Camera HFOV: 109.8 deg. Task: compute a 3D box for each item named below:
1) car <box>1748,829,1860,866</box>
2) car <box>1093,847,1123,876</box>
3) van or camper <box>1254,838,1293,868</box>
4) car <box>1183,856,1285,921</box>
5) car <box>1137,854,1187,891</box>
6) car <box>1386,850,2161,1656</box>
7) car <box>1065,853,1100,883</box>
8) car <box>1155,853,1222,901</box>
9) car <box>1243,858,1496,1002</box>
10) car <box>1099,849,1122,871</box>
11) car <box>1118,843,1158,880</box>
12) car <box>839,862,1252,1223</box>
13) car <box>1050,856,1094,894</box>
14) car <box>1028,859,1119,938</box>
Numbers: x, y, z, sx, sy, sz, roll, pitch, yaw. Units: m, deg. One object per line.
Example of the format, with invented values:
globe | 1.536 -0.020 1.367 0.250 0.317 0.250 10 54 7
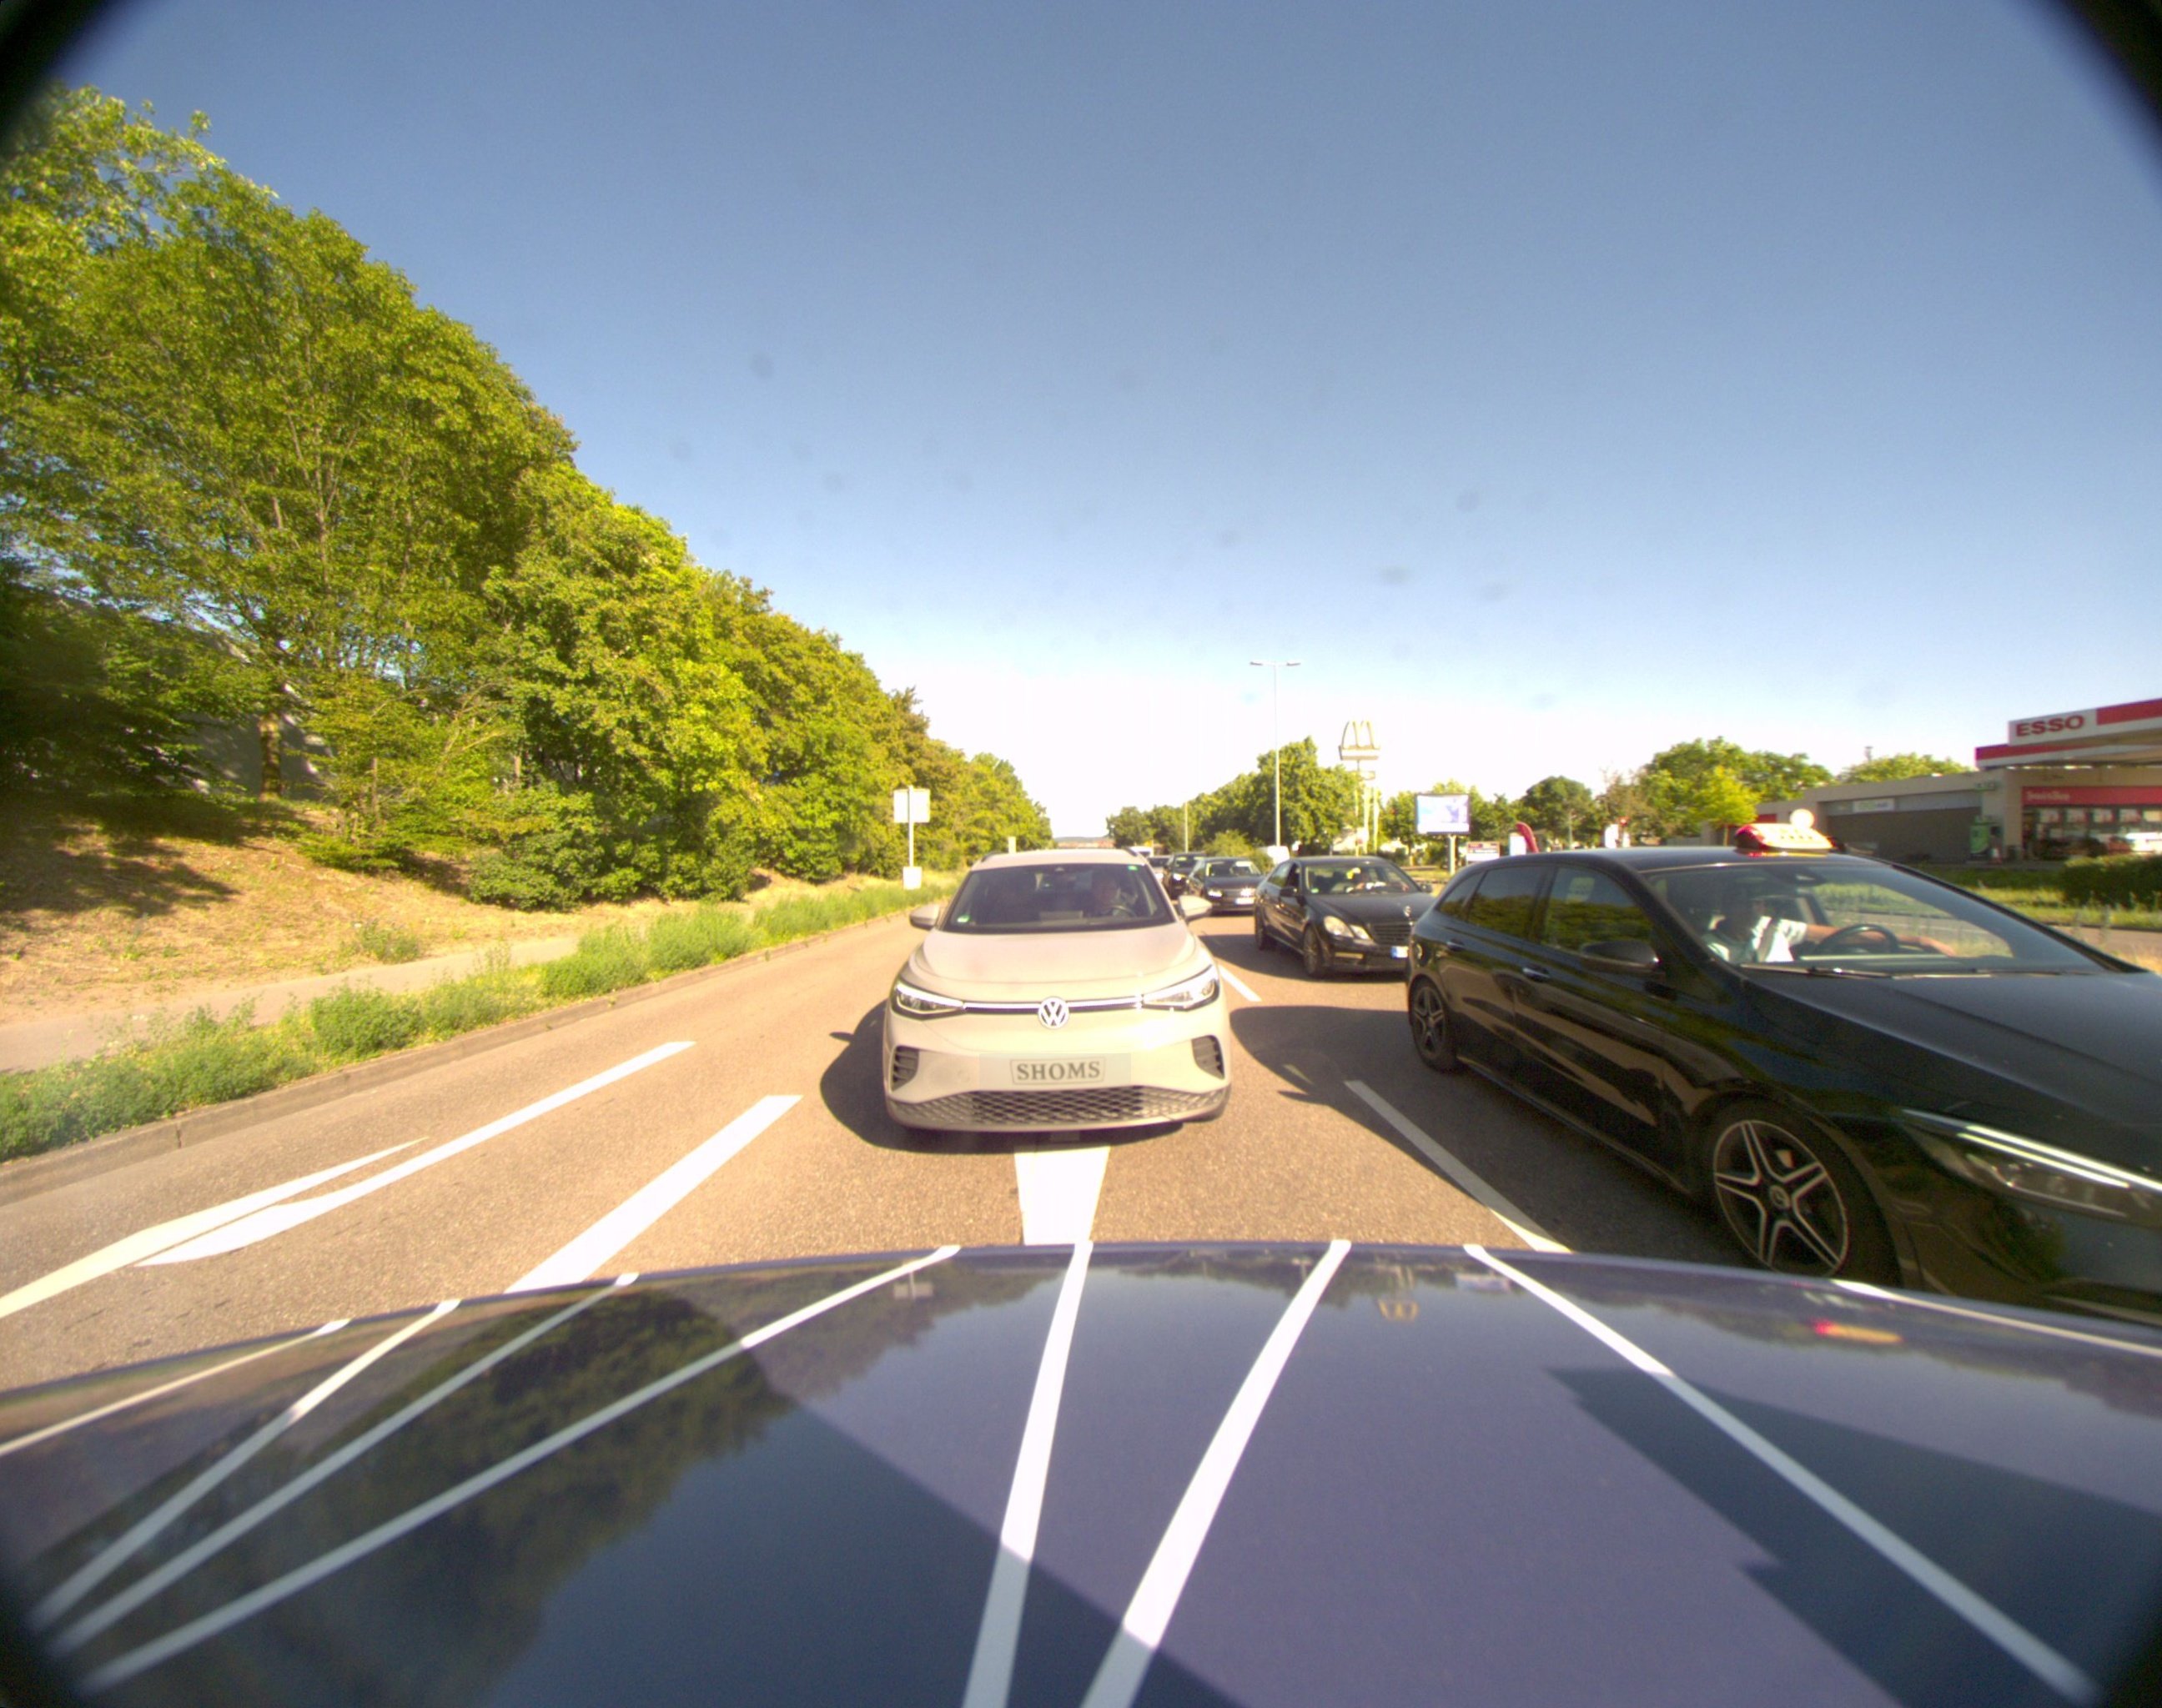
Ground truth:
car | 37.686 -0.331 39.755 1.998 1.759 4.118 -2 0 2
car | 2.141 0.604 62.543 2.289 2.274 5.381 -1 0 1
van or camper | 17.598 -0.093 69.776 2.183 2.557 6.755 -1 0 3
car | 3.936 0.827 20.261 1.862 1.472 4.403 -1 0 1
car | 3.664 0.796 34.969 1.862 1.578 4.403 -1 0 1
car | 3.148 0.811 3.593 1.804 1.616 4.188 -1 0 2
car | 0.121 0.742 40.820 1.765 1.503 3.760 -1 0 1
car | 3.845 0.773 27.775 1.862 1.578 4.403 -1 0 1
car | 3.627 0.851 10.525 1.862 1.515 4.403 -1 0 1
car | 3.130 0.601 82.230 2.289 2.274 5.381 -1 0 1
car | 3.690 0.479 50.160 2.289 2.274 5.381 -1 0 1
car | -0.139 0.900 5.488 1.871 1.588 3.932 -2 0 1
car | -0.356 0.882 33.243 1.765 1.503 3.760 -2 0 1
car | -0.120 0.897 16.968 1.765 1.503 3.760 -2 0 1
